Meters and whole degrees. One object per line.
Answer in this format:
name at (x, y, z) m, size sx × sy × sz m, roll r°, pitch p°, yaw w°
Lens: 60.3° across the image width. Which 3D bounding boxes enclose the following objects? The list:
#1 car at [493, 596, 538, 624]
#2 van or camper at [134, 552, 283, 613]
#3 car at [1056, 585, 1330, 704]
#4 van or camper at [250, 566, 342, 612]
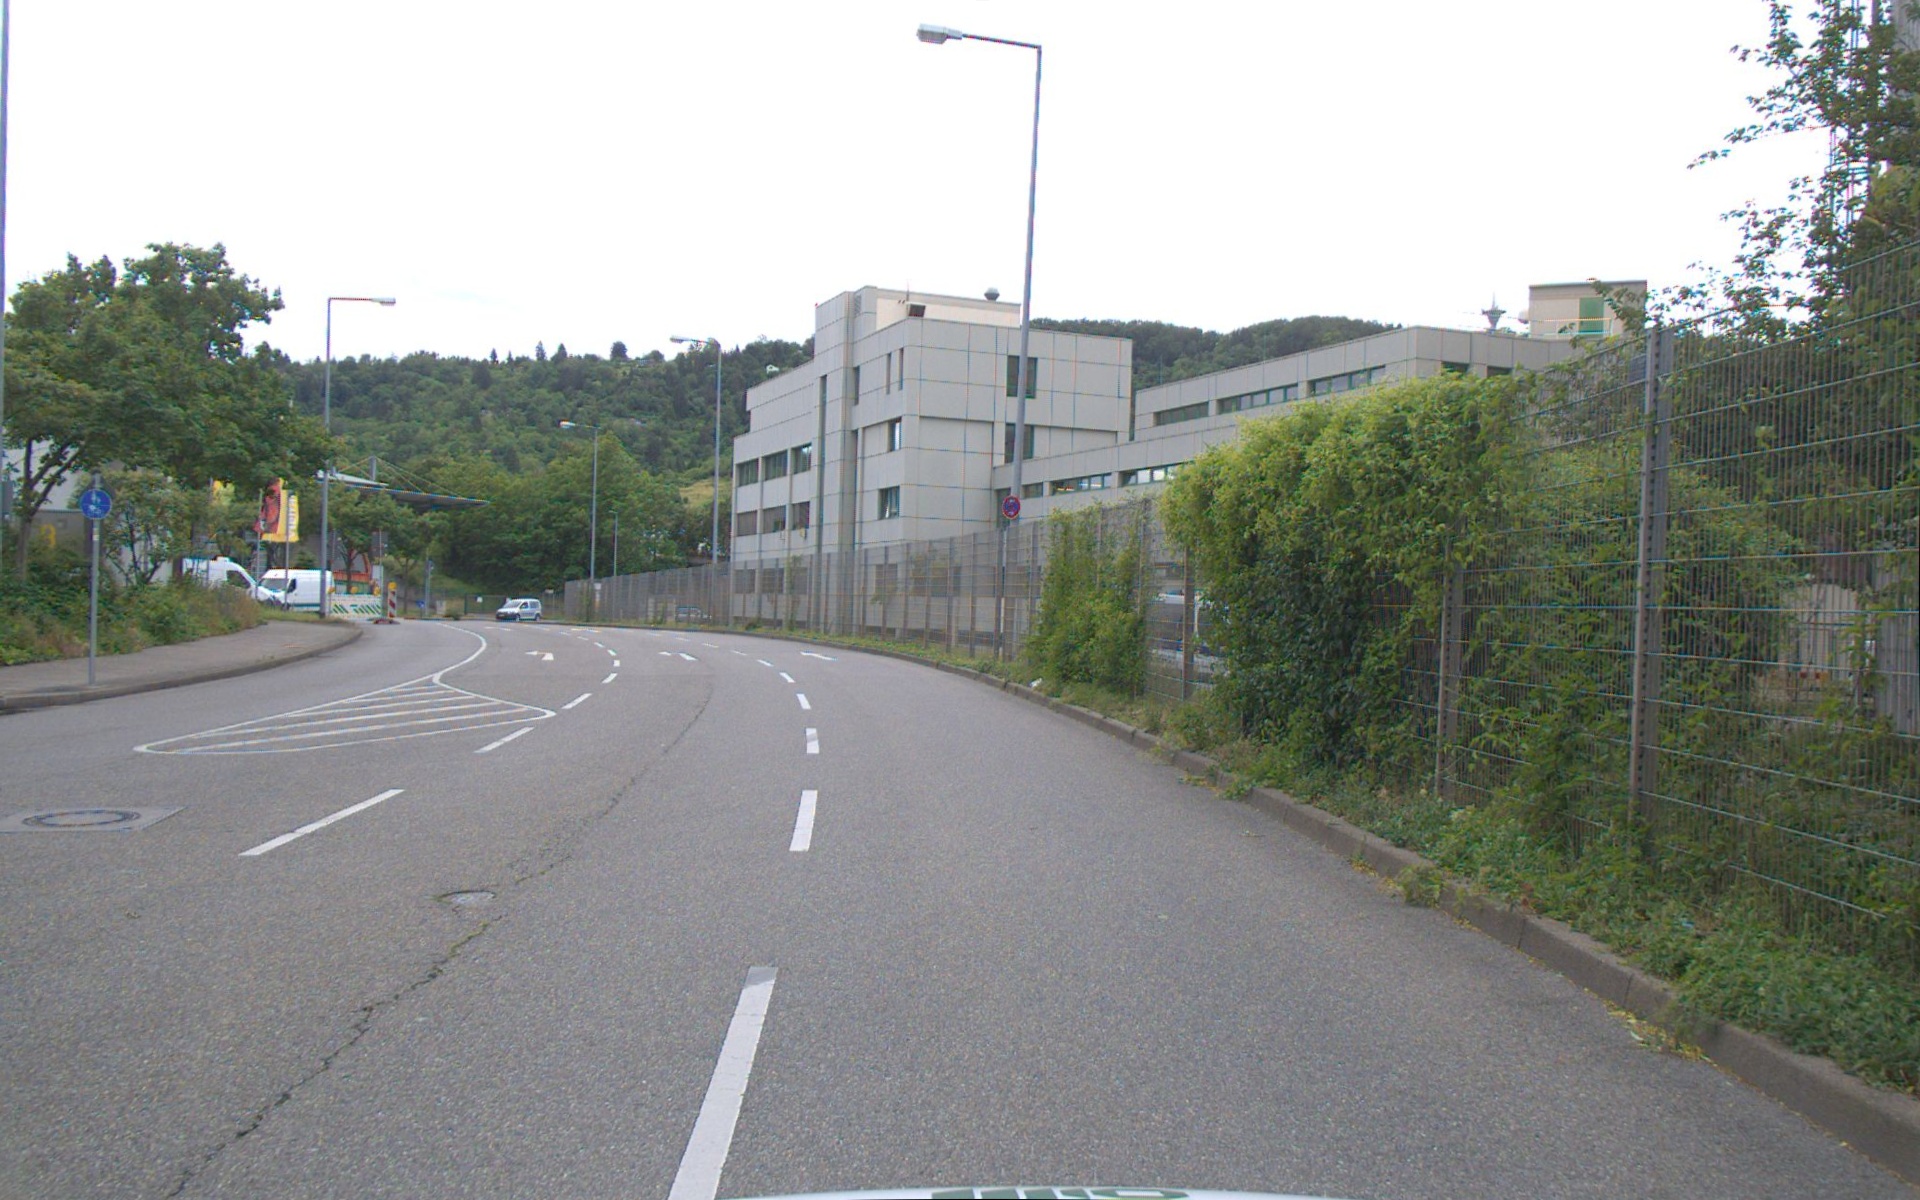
car at (-34.725, 0.777, 129.379) m, size 1.951 × 2.049 × 4.134 m, roll 2°, pitch -1°, yaw 6°
van or camper at (-34.437, -0.766, 76.040) m, size 5.898 × 2.286 × 2.381 m, roll 4°, pitch -2°, yaw -21°
car at (4.921, 0.899, 35.885) m, size 1.981 × 2.302 × 6.081 m, roll 3°, pitch -1°, yaw -40°
van or camper at (-37.731, -0.576, 94.185) m, size 1.966 × 2.367 × 6.657 m, roll 1°, pitch -1°, yaw 5°
